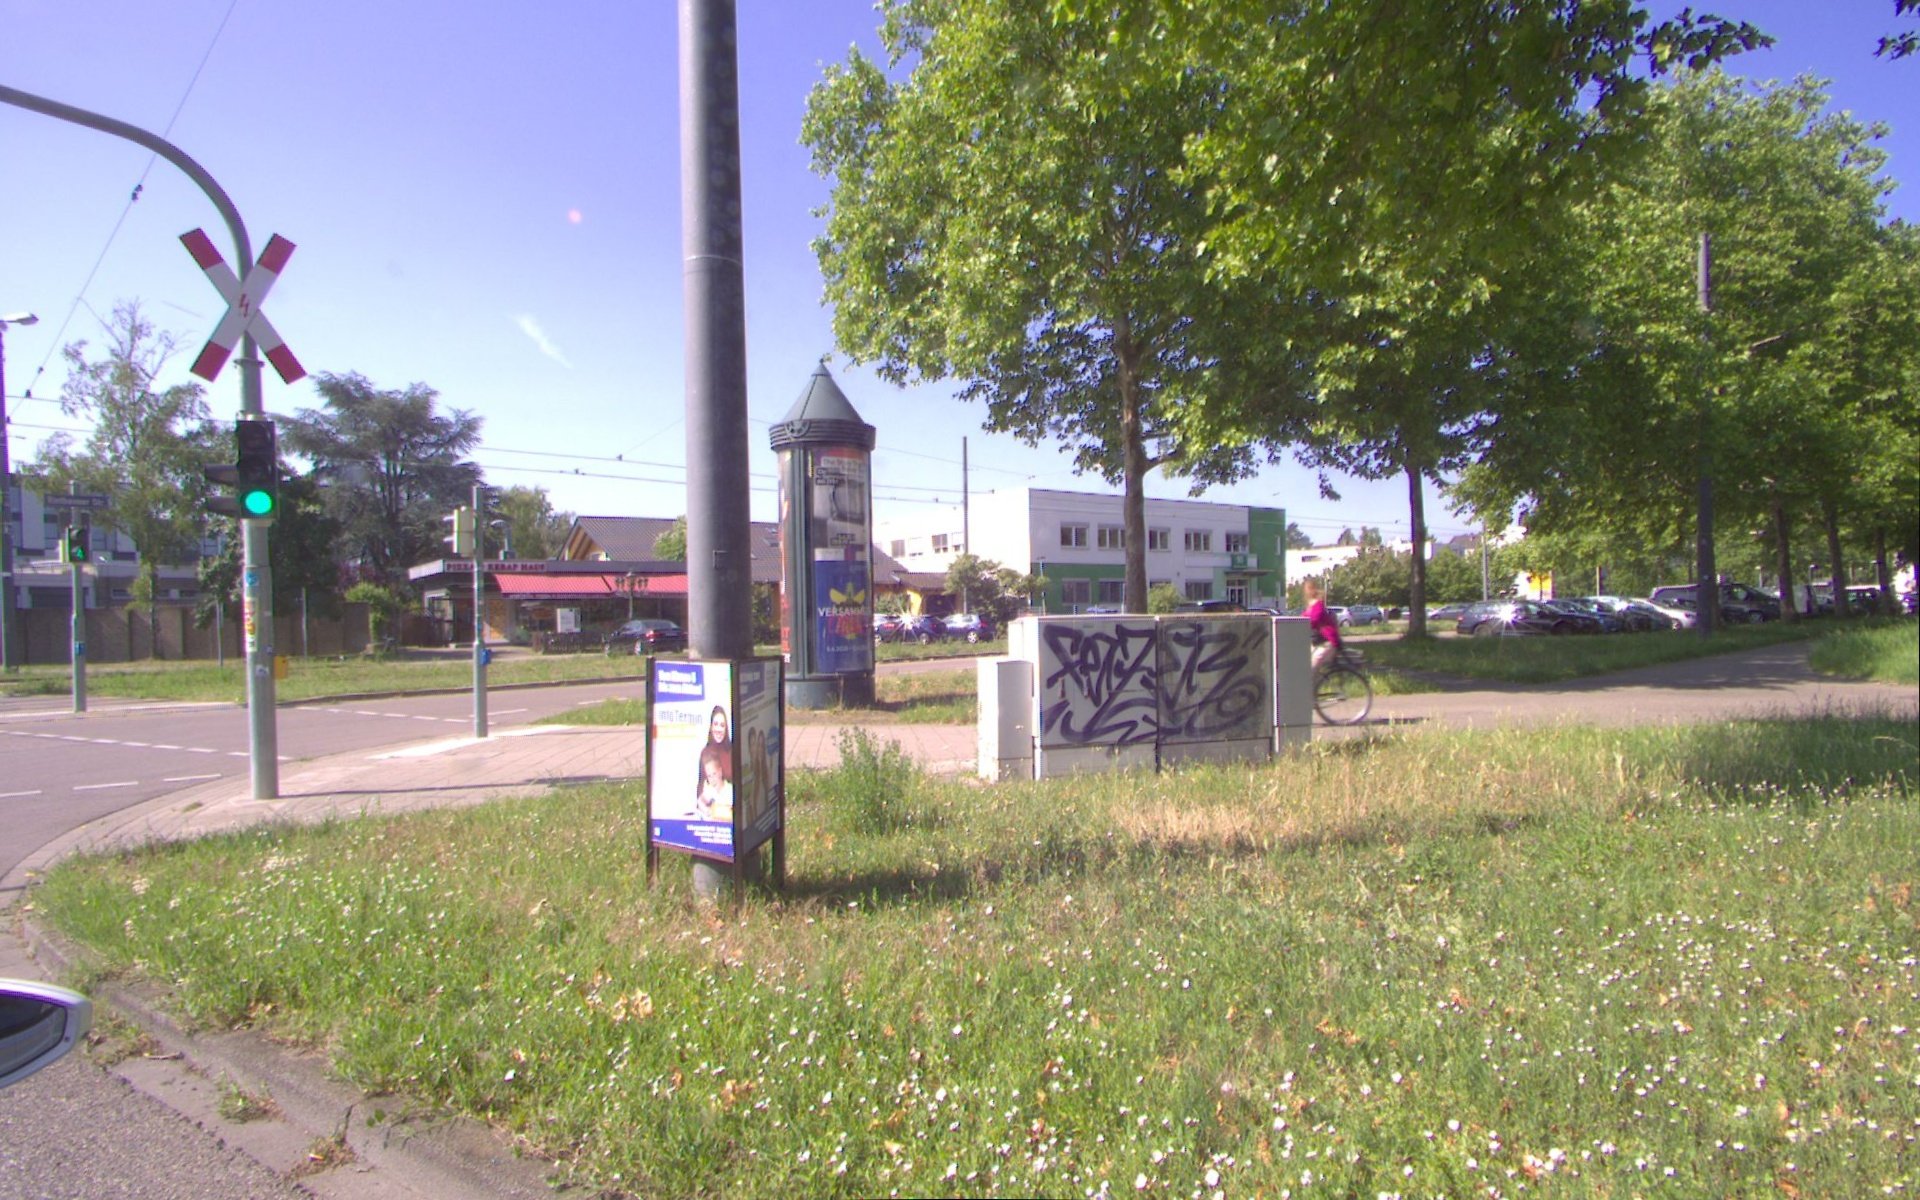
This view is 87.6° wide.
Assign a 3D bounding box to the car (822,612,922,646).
[{"bbox_3d":[-4.092,1.360,46.649,4.139,1.518,2.136,-2,-1,26],"label":"car"}]

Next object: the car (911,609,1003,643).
[{"bbox_3d":[-0.168,1.327,50.584,4.139,1.640,2.136,-1,-1,26],"label":"car"}]

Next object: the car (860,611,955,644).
[{"bbox_3d":[-2.544,1.358,48.622,4.139,1.518,2.136,-2,-1,26],"label":"car"}]

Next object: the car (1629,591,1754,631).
[{"bbox_3d":[32.501,0.500,44.554,4.309,1.654,1.982,-1,0,44],"label":"car"}]

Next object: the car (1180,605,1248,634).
[{"bbox_3d":[16.036,1.250,63.186,3.934,1.816,1.995,-1,-2,24],"label":"car"}]

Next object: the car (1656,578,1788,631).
[{"bbox_3d":[35.095,0.231,46.200,1.978,2.320,4.550,-1,0,-41],"label":"car"}]

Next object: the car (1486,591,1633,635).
[{"bbox_3d":[21.919,0.471,36.704,4.309,1.510,1.982,-1,0,44],"label":"car"}]

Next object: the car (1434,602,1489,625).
[{"bbox_3d":[41.474,1.134,82.909,3.934,1.816,1.995,-1,-2,24],"label":"car"}]

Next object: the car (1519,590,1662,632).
[{"bbox_3d":[24.035,0.433,38.258,4.309,1.510,1.982,-1,0,44],"label":"car"}]

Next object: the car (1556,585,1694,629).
[{"bbox_3d":[26.324,0.322,39.699,4.309,1.654,1.982,-1,-2,44],"label":"car"}]

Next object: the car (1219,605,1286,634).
[{"bbox_3d":[18.889,1.286,64.608,3.934,1.816,1.995,-1,-2,24],"label":"car"}]

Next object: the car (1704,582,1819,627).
[{"bbox_3d":[41.697,0.253,52.134,4.542,2.238,1.982,-1,0,44],"label":"car"}]

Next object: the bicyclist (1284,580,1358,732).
[{"bbox_3d":[4.449,0.673,12.384,0.796,1.810,0.701,-1,0,17],"label":"bicyclist"}]

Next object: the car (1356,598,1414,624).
[{"bbox_3d":[31.485,0.832,74.248,3.934,1.816,1.995,-1,-2,24],"label":"car"}]

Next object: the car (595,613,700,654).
[{"bbox_3d":[-12.744,1.381,40.639,2.121,1.518,5.073,-1,-2,-43],"label":"car"}]

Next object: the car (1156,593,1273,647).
[{"bbox_3d":[8.453,0.674,33.095,3.955,1.676,1.779,1,-1,-39],"label":"car"}]

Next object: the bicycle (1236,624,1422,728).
[{"bbox_3d":[4.511,0.920,12.378,2.087,1.201,0.692,-1,0,17],"label":"bicycle"}]

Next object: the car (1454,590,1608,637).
[{"bbox_3d":[19.846,0.485,34.923,4.310,1.510,1.982,-2,-1,44],"label":"car"}]

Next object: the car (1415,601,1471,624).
[{"bbox_3d":[38.943,1.015,80.817,3.934,1.816,1.995,-1,-2,24],"label":"car"}]

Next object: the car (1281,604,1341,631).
[{"bbox_3d":[24.924,1.257,71.082,3.934,1.816,1.995,-1,-2,24],"label":"car"}]

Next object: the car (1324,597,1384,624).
[{"bbox_3d":[28.324,0.779,72.000,3.934,1.816,1.995,-1,-2,24],"label":"car"}]

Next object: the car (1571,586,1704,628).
[{"bbox_3d":[28.063,0.320,41.530,4.309,1.654,1.982,-1,0,44],"label":"car"}]

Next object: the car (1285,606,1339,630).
[{"bbox_3d":[23.875,1.192,68.013,3.383,1.556,1.565,-1,0,18],"label":"car"}]
